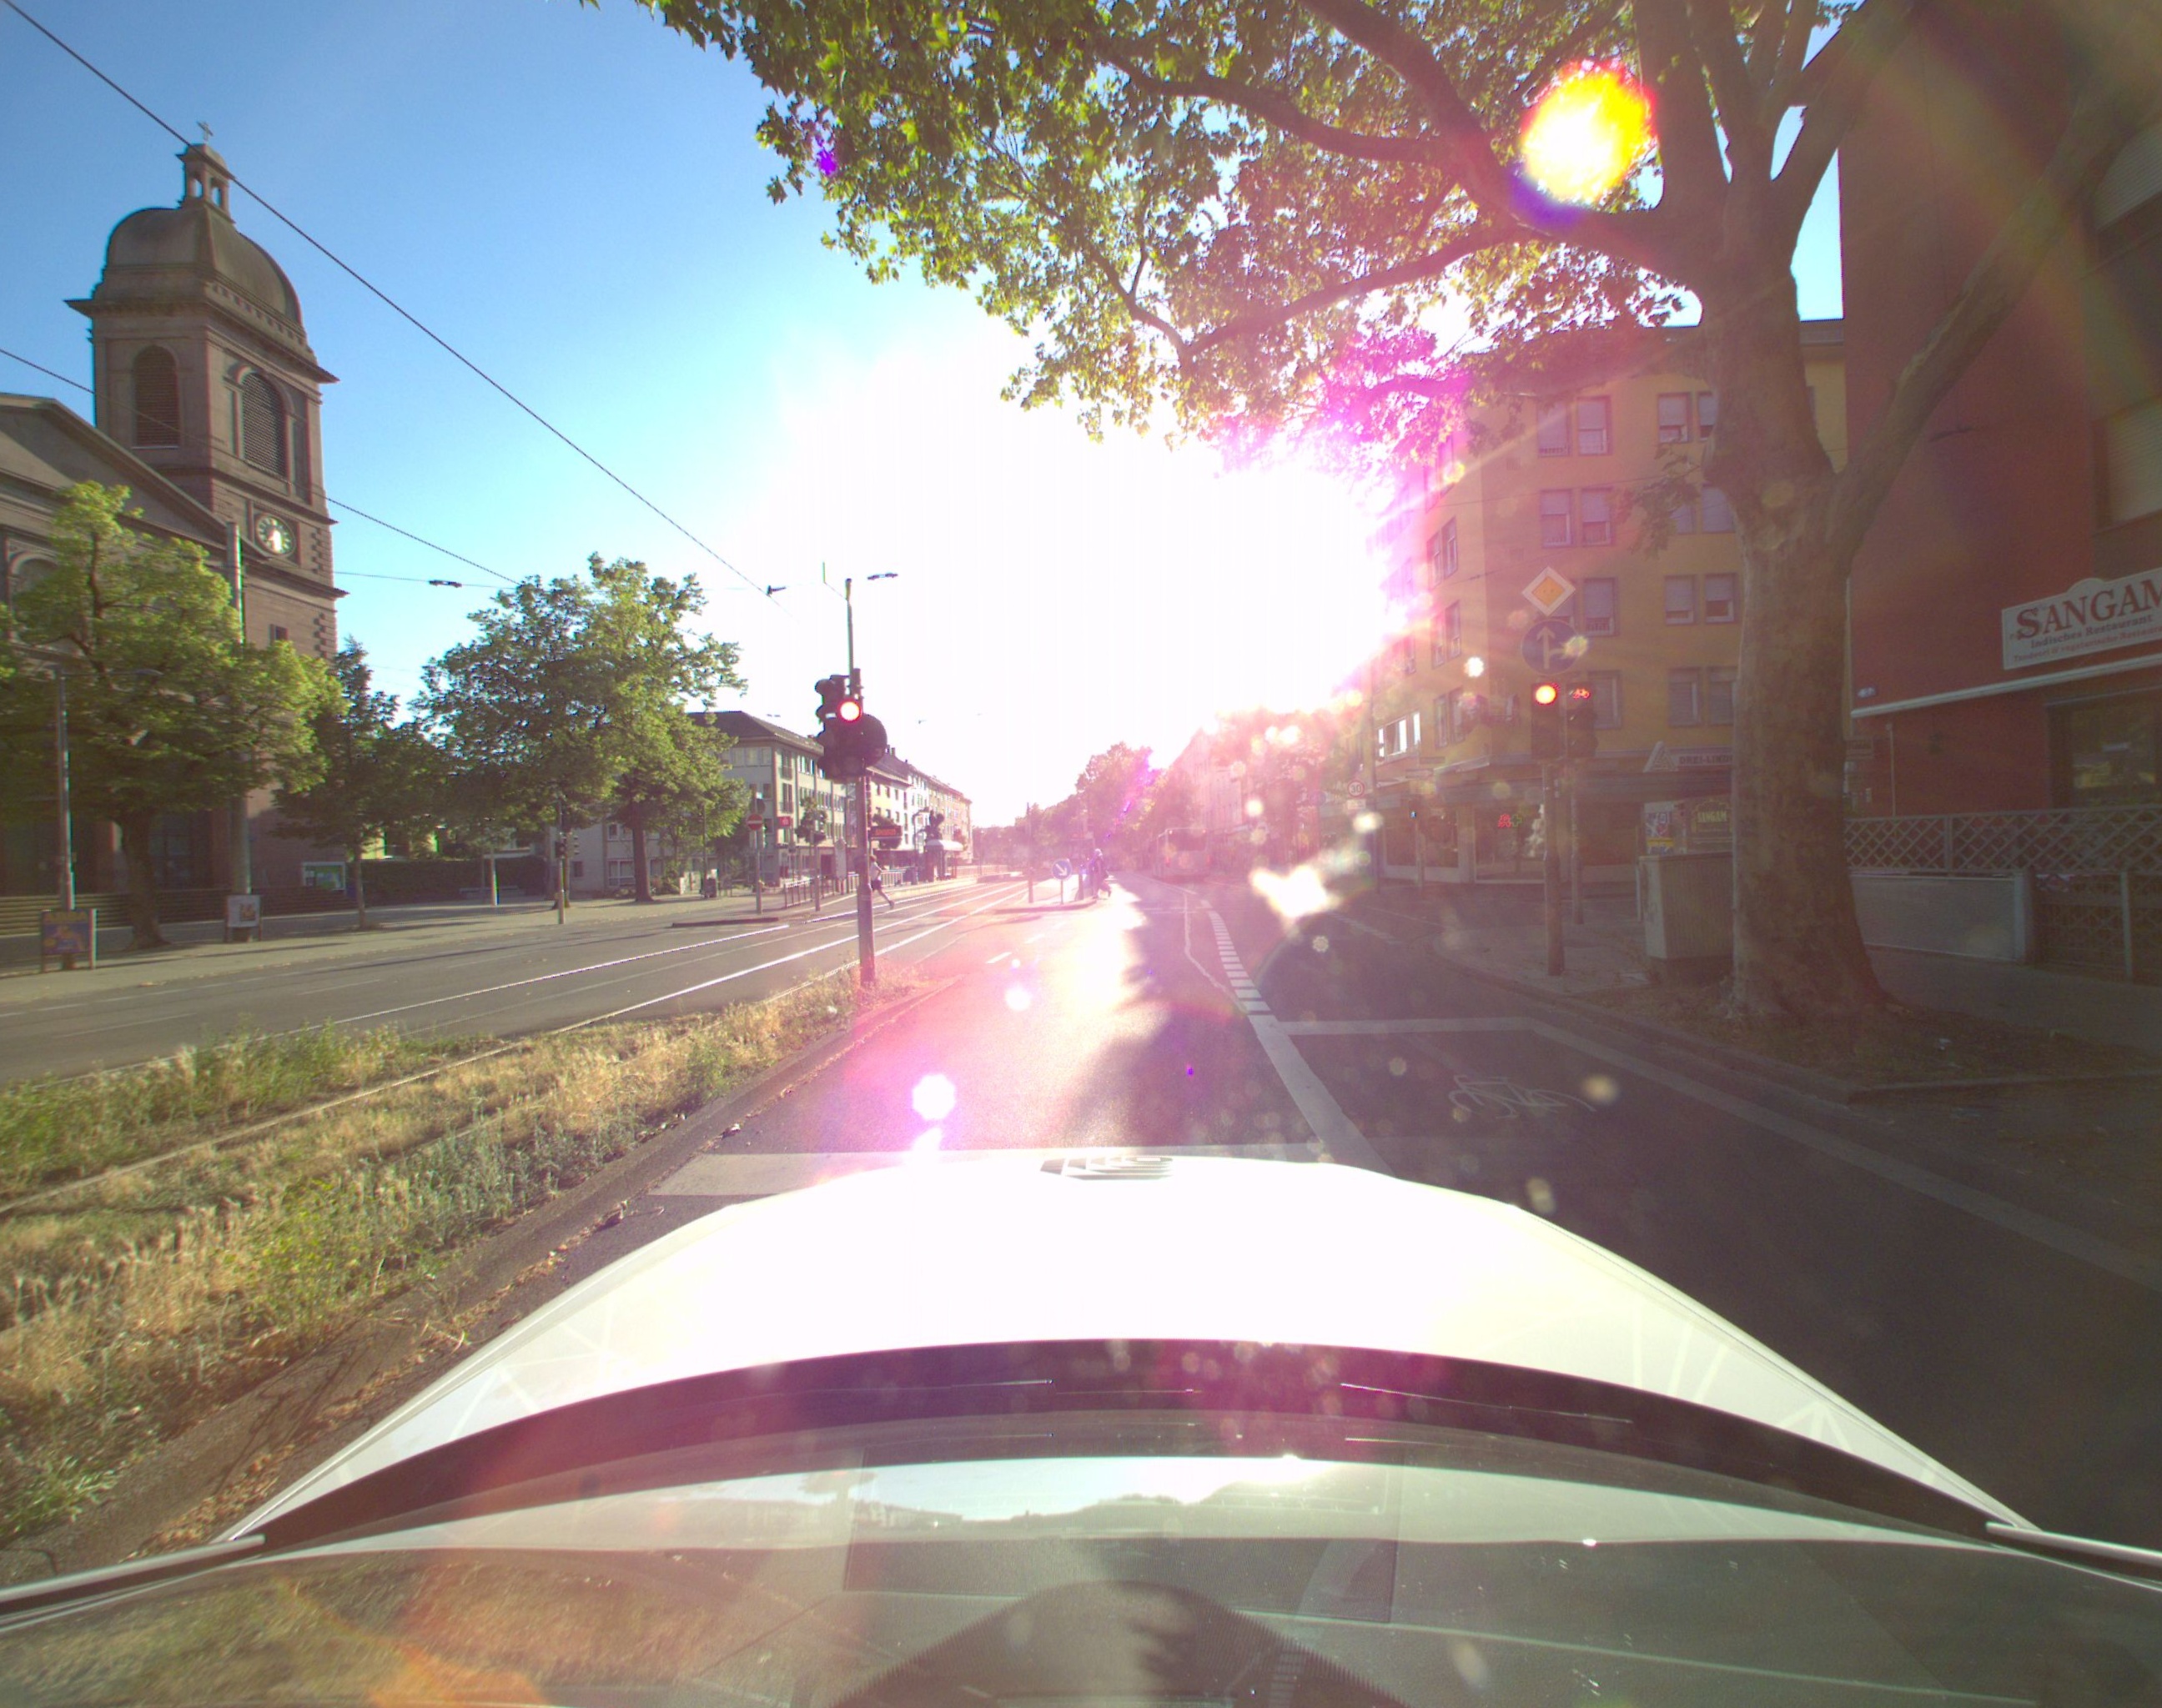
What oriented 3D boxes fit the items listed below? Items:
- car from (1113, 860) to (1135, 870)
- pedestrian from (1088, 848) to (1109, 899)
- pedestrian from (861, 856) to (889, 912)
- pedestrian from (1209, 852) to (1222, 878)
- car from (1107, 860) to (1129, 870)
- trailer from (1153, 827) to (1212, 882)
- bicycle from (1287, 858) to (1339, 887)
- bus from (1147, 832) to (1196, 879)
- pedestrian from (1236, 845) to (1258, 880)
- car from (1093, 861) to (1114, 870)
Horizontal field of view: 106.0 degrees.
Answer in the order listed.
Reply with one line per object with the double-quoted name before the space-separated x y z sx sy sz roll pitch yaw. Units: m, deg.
"car" 8.401 2.120 158.575 3.911 1.699 1.817 -2 0 -27
"pedestrian" 0.622 0.678 28.960 0.677 1.770 0.687 -1 -1 2
"pedestrian" -6.691 0.971 26.451 0.678 1.770 0.687 -2 0 -1
"pedestrian" 8.295 0.689 50.286 0.674 1.628 0.656 0 -1 2
"car" 7.383 2.191 161.372 3.911 1.699 1.817 -2 0 -27
"trailer" 6.108 0.057 50.070 2.801 3.110 8.797 0 0 2
"bicycle" 8.899 0.702 31.257 1.766 1.021 0.694 -4 -1 1
"bus" 6.404 0.119 59.010 2.801 3.101 9.097 0 0 2
"pedestrian" 9.767 0.507 47.931 0.961 2.014 0.907 0 -1 -38
"car" 4.528 2.316 166.763 3.911 1.596 1.676 -2 0 -27
